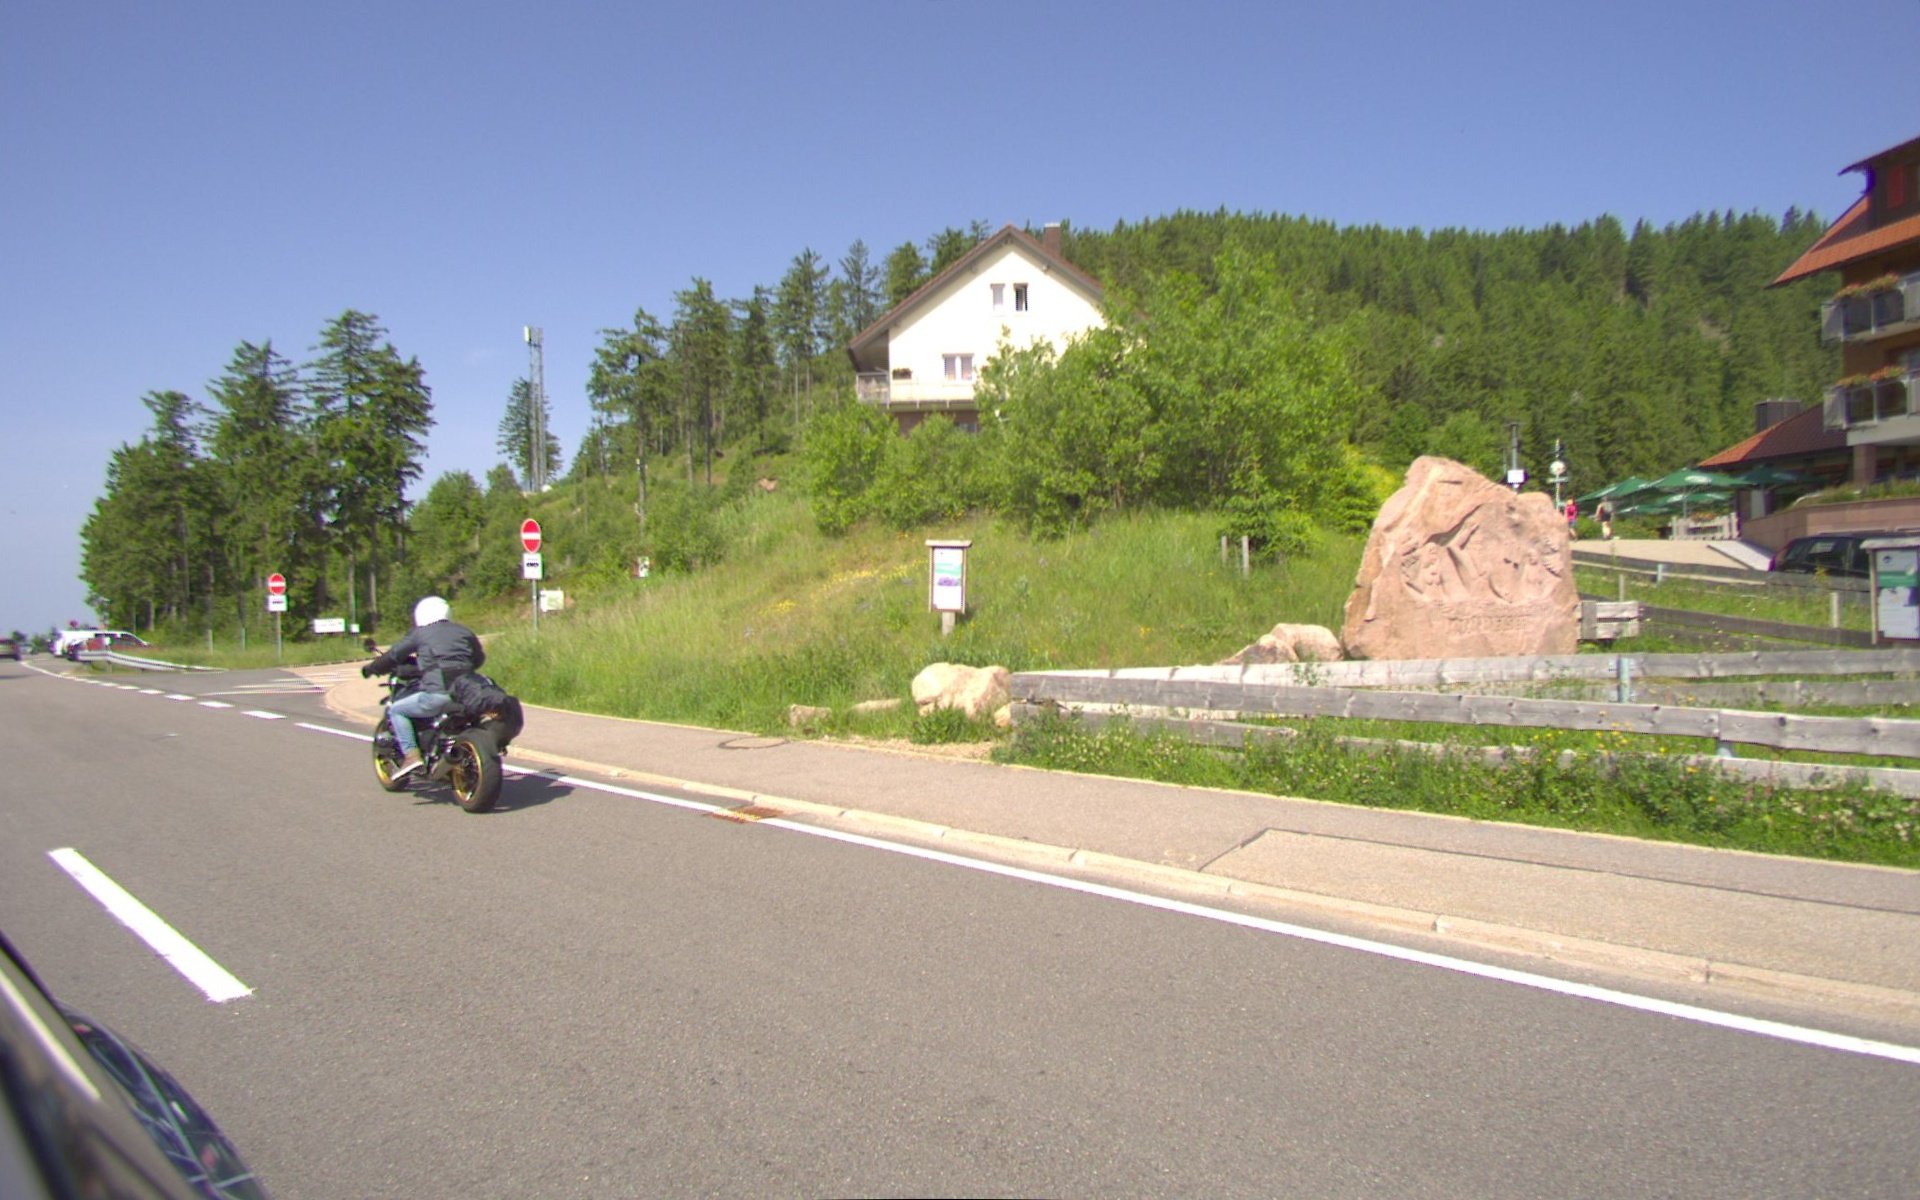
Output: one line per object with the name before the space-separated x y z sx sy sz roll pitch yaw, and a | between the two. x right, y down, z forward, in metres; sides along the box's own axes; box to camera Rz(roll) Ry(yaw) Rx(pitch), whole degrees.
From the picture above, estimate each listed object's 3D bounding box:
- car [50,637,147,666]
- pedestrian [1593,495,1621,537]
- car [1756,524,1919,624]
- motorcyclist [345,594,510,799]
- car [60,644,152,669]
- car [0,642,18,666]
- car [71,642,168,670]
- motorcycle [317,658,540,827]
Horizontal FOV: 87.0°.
car | -57.666 3.427 67.800 1.931 1.896 4.667 -2 -3 41
pedestrian | 24.804 -3.226 38.824 0.565 1.552 0.633 -7 5 -3
car | 14.880 -0.433 15.643 1.853 1.363 4.003 -1 5 -2
motorcyclist | -4.130 0.703 7.852 1.005 1.452 0.830 -2 -2 41
car | -50.076 3.274 59.374 1.931 1.384 3.877 -2 -3 41
car | -68.428 3.858 72.022 1.969 1.608 4.005 0 -2 -42
car | -47.961 3.160 57.765 4.101 1.522 1.933 2 -3 -44
motorcycle | -4.203 1.027 7.920 2.182 1.104 0.830 -2 -2 41
